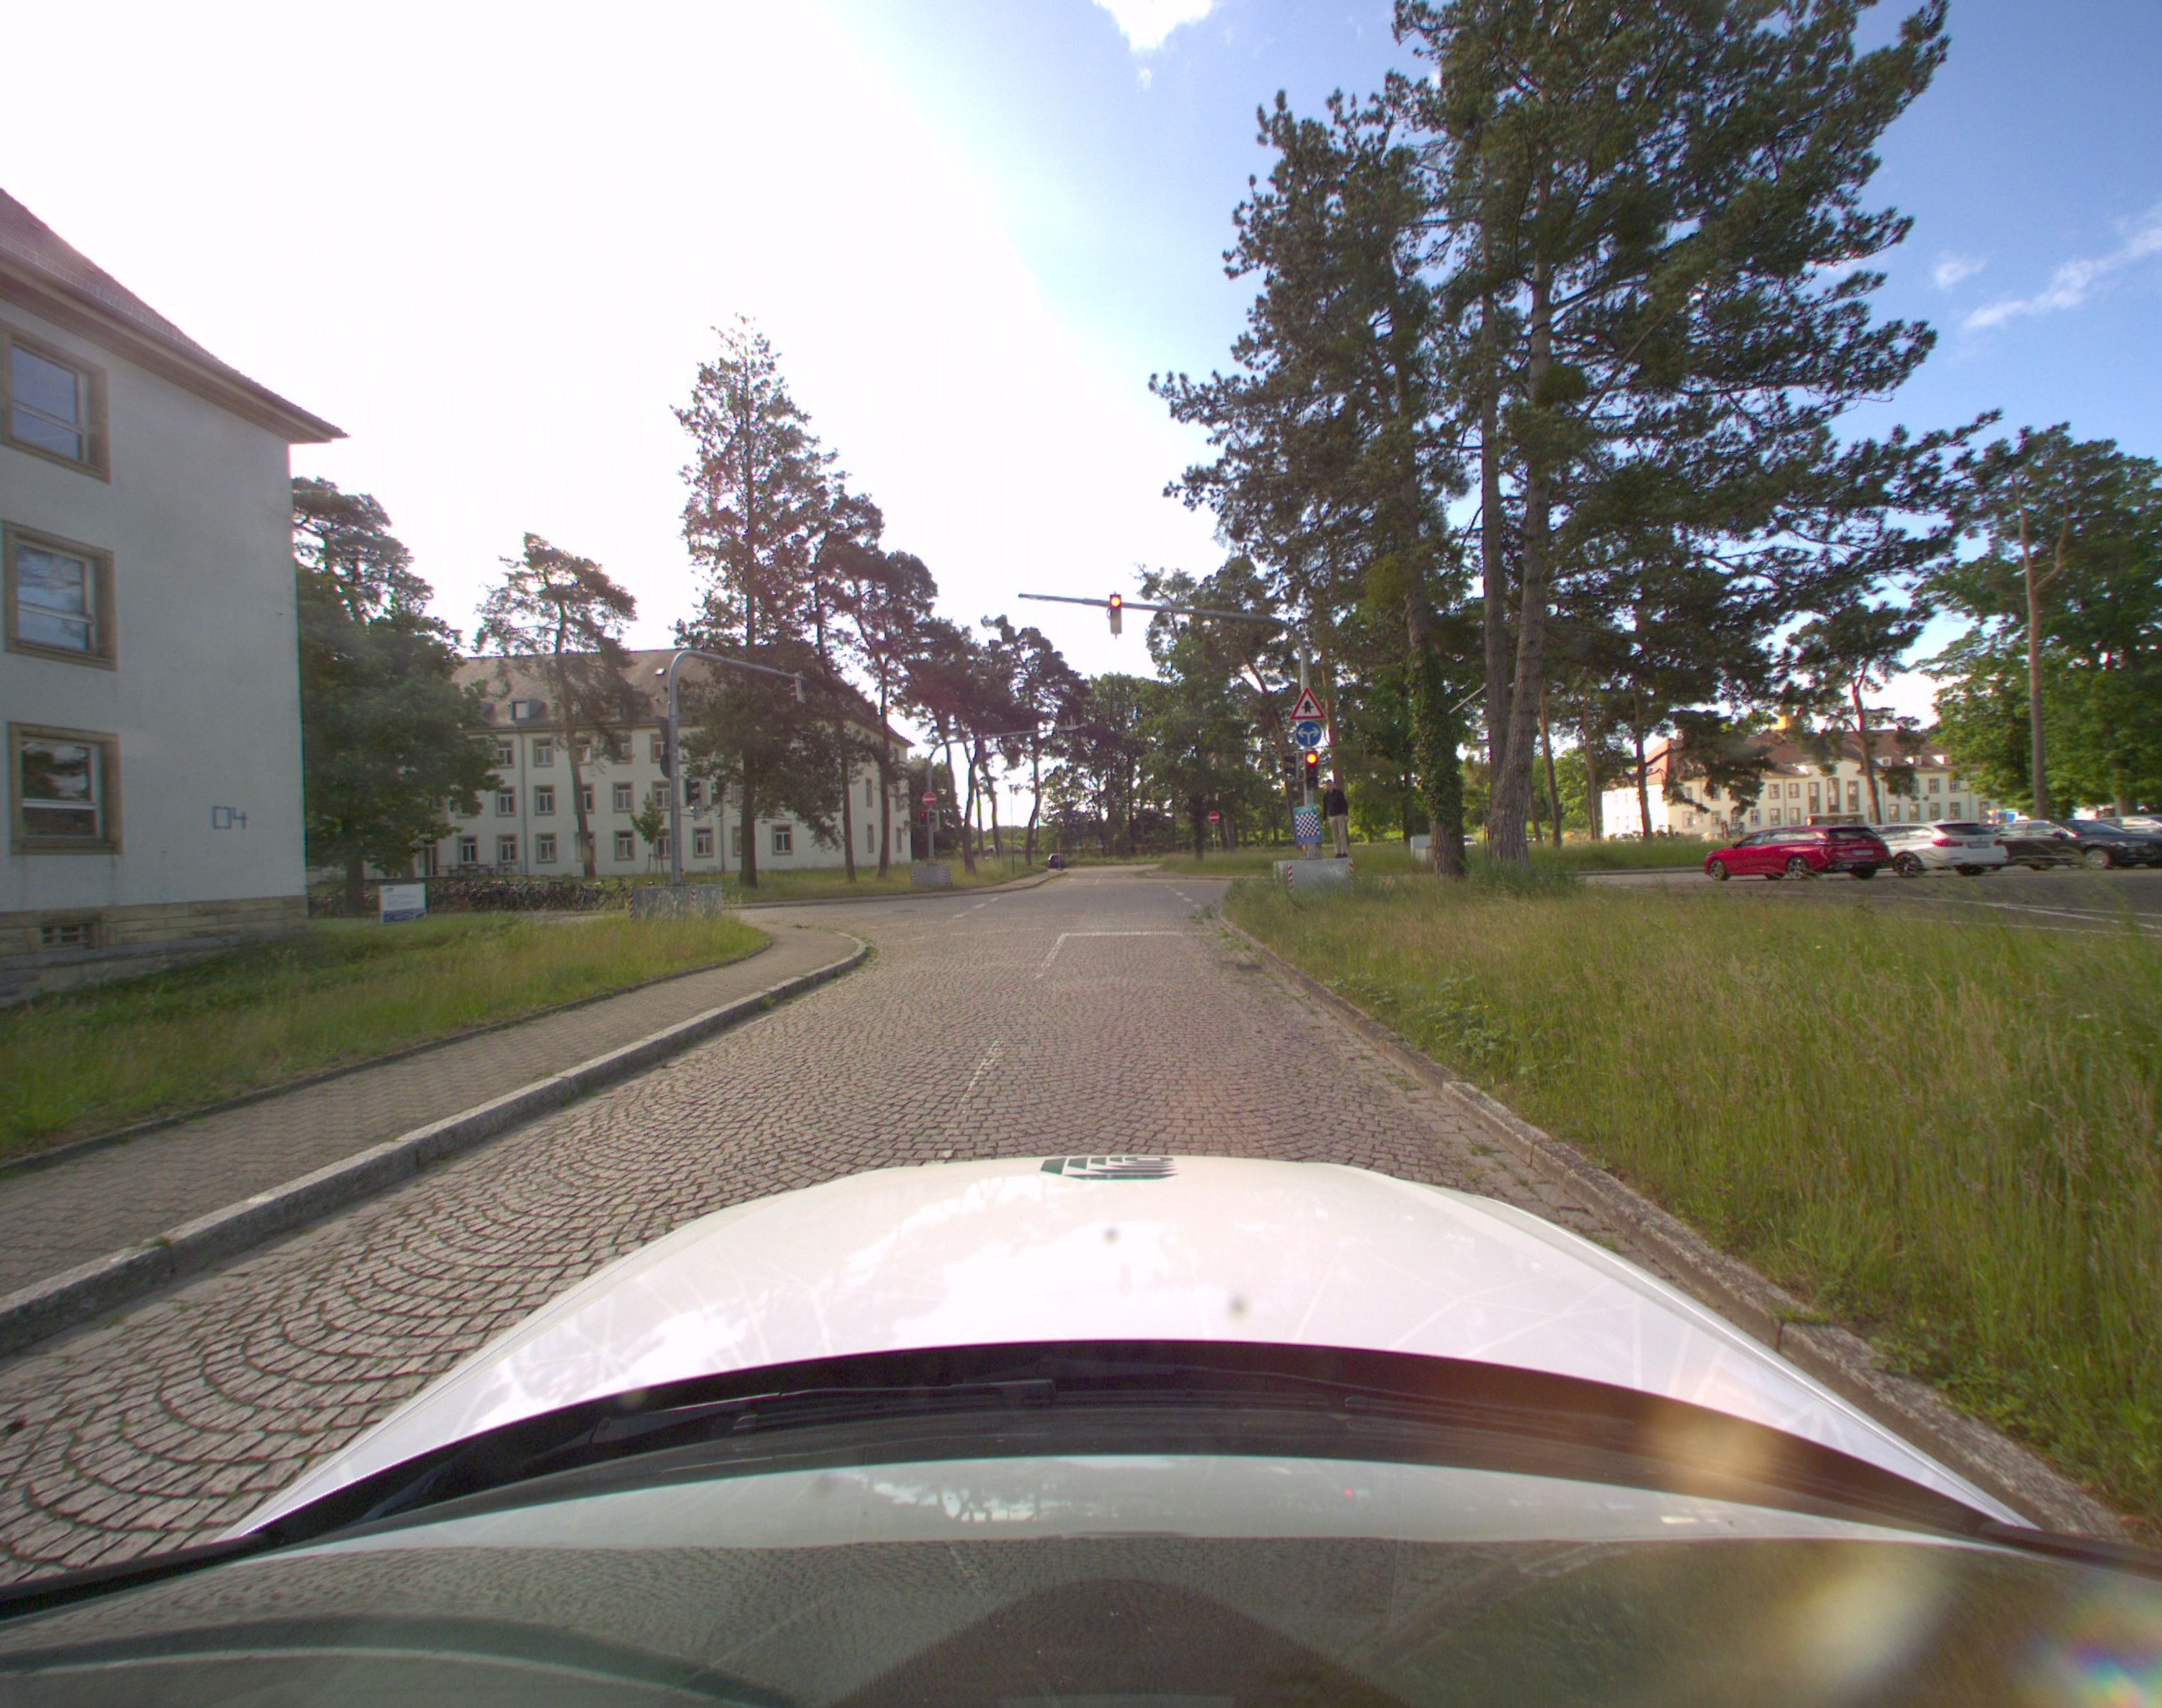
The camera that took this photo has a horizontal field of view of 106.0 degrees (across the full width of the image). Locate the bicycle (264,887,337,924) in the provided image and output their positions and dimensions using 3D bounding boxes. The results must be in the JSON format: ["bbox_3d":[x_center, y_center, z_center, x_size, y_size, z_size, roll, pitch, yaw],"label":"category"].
[{"bbox_3d":[-28.564,1.871,29.831,0.509,1.220,1.841,-2,0,39],"label":"bicycle"}]

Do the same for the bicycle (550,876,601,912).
[{"bbox_3d":[-18.924,1.472,30.516,0.570,1.220,1.990,-2,0,2],"label":"bicycle"}]

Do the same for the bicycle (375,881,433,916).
[{"bbox_3d":[-25.631,1.668,30.869,0.512,1.220,1.938,-2,0,2],"label":"bicycle"}]

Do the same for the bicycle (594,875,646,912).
[{"bbox_3d":[-16.994,1.440,30.097,0.630,1.220,2.115,-2,0,2],"label":"bicycle"}]

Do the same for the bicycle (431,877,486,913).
[{"bbox_3d":[-23.540,1.542,30.822,0.512,1.220,1.938,-2,0,2],"label":"bicycle"}]

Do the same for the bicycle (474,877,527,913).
[{"bbox_3d":[-21.914,1.517,30.793,0.512,1.220,1.978,-2,0,2],"label":"bicycle"}]

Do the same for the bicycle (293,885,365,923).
[{"bbox_3d":[-27.454,1.812,29.755,1.836,1.220,0.510,-2,0,-34],"label":"bicycle"}]

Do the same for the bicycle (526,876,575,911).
[{"bbox_3d":[-20.226,1.491,31.091,0.546,1.220,1.900,-2,0,2],"label":"bicycle"}]

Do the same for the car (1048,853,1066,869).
[{"bbox_3d":[-2.555,0.724,86.375,1.704,1.496,3.918,-2,0,0],"label":"car"}]

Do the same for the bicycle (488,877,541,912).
[{"bbox_3d":[-21.396,1.512,30.790,0.512,1.220,1.978,-2,0,2],"label":"bicycle"}]

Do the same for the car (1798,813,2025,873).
[{"bbox_3d":[22.127,-0.219,21.993,1.773,1.379,4.240,-2,-2,0],"label":"car"}]

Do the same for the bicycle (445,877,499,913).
[{"bbox_3d":[-22.995,1.533,30.790,0.512,1.220,1.938,-2,0,2],"label":"bicycle"}]

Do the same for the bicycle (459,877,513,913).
[{"bbox_3d":[-22.440,1.523,30.770,0.512,1.220,1.955,-2,0,2],"label":"bicycle"}]

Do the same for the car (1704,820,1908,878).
[{"bbox_3d":[19.258,-0.094,21.934,1.740,1.399,4.329,-1,-1,2],"label":"car"}]

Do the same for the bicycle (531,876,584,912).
[{"bbox_3d":[-19.667,1.486,30.659,0.576,1.220,2.030,-2,0,2],"label":"bicycle"}]

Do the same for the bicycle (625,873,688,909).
[{"bbox_3d":[-15.637,1.352,30.027,1.937,1.220,0.635,-2,0,1],"label":"bicycle"}]

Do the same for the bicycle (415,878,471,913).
[{"bbox_3d":[-24.132,1.551,30.851,0.512,1.220,1.938,-2,0,2],"label":"bicycle"}]

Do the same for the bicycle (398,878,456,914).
[{"bbox_3d":[-24.742,1.562,30.850,0.512,1.220,1.938,-2,0,2],"label":"bicycle"}]

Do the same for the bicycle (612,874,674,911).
[{"bbox_3d":[-15.763,1.378,29.315,1.855,1.220,0.635,-2,0,1],"label":"bicycle"}]

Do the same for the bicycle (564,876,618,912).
[{"bbox_3d":[-18.081,1.459,30.115,0.630,1.220,2.105,-2,0,2],"label":"bicycle"}]

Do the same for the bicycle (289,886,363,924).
[{"bbox_3d":[-27.072,1.815,29.240,1.836,1.220,0.510,-2,0,-34],"label":"bicycle"}]

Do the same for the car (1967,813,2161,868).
[{"bbox_3d":[27.203,-0.368,22.286,1.610,1.315,4.048,-3,0,3],"label":"car"}]

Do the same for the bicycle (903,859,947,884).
[{"bbox_3d":[-7.084,0.791,37.060,0.627,1.066,1.963,-2,0,40],"label":"bicycle"}]

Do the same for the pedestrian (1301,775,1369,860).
[{"bbox_3d":[5.745,-0.801,18.403,1.157,1.796,1.069,-3,0,31],"label":"pedestrian"}]

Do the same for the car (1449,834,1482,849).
[{"bbox_3d":[42.902,-1.342,91.057,1.820,1.582,4.165,-2,0,2],"label":"car"}]

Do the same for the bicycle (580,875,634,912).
[{"bbox_3d":[-17.478,1.449,30.097,0.630,1.220,2.125,-2,0,2],"label":"bicycle"}]

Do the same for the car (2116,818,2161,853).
[{"bbox_3d":[44.867,-0.772,32.538,1.717,1.425,4.243,-1,0,2],"label":"car"}]

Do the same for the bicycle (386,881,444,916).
[{"bbox_3d":[-25.202,1.661,30.862,0.512,1.220,1.938,-2,0,2],"label":"bicycle"}]

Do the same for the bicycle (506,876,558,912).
[{"bbox_3d":[-20.747,1.502,30.825,0.512,1.220,2.016,-2,0,2],"label":"bicycle"}]

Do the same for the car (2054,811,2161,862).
[{"bbox_3d":[30.123,-0.490,22.657,1.716,1.372,3.796,-1,0,4],"label":"car"}]

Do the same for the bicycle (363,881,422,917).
[{"bbox_3d":[-26.079,1.676,30.884,0.512,1.220,1.938,-2,0,2],"label":"bicycle"}]

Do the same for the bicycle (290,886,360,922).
[{"bbox_3d":[-28.528,1.868,30.765,0.509,1.220,1.841,-2,0,39],"label":"bicycle"}]
